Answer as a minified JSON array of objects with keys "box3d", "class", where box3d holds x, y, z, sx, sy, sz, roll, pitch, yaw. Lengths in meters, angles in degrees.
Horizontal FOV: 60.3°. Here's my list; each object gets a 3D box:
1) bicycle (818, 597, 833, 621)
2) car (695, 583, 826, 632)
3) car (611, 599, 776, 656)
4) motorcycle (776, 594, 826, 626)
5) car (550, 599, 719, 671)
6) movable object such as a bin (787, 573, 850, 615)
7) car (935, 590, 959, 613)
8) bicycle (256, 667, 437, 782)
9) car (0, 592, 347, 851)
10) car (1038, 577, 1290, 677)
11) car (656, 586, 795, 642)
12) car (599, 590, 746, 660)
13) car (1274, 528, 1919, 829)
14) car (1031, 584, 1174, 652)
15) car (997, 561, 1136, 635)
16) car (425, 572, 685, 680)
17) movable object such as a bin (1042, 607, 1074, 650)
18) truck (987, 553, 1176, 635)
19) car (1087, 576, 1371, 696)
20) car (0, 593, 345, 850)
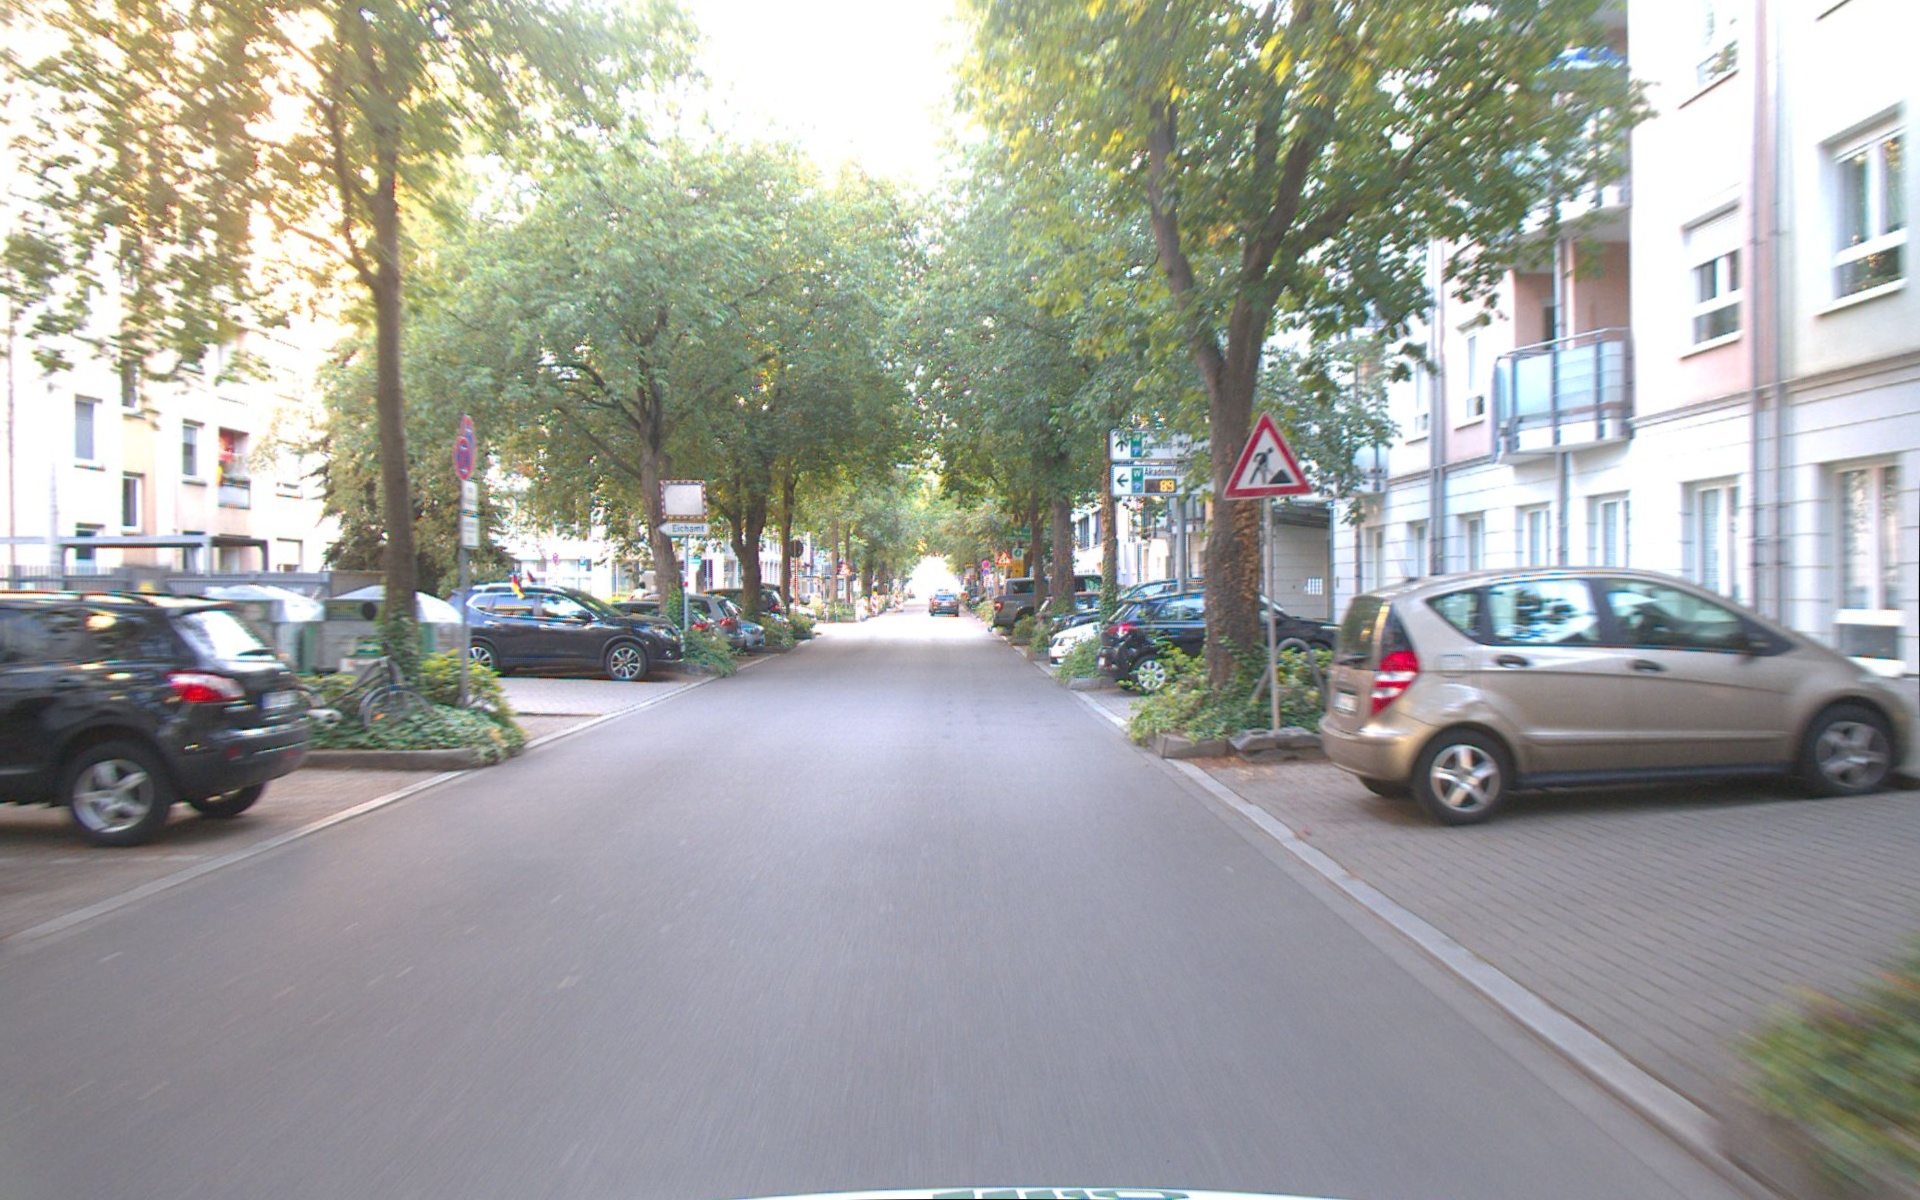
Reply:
[{"box3d":[-6.672,0.425,81.893,0.589,1.137,1.799,-1,1,-1],"class":"bicycle"},{"box3d":[-7.083,0.261,59.185,4.406,1.609,2.055,1,0,0],"class":"car"},{"box3d":[-6.858,0.699,42.859,4.018,1.403,1.746,1,0,-3],"class":"car"},{"box3d":[-7.590,0.460,78.924,2.358,1.466,0.790,-1,0,-41],"class":"motorcycle"},{"box3d":[-6.942,0.731,35.530,3.337,1.467,1.593,-1,0,-3],"class":"car"},{"box3d":[-8.275,-0.347,97.030,3.592,2.373,2.582,-1,0,-3],"class":"movable object such as a bin"},{"box3d":[-0.806,0.101,104.406,1.470,1.441,3.713,0,0,-1],"class":"car"},{"box3d":[-5.686,1.133,15.342,1.536,0.953,0.481,-1,0,-25],"class":"bicycle"},{"box3d":[-6.468,0.767,11.263,3.907,1.616,1.827,0,0,-3],"class":"car"},{"box3d":[3.814,0.493,31.444,4.480,1.579,1.772,-3,0,-2],"class":"car"},{"box3d":[-7.626,0.438,54.201,4.308,1.714,2.063,1,0,-3],"class":"car"},{"box3d":[-7.019,0.600,40.658,3.337,1.637,1.760,-1,0,-3],"class":"car"},{"box3d":[4.292,0.489,11.438,3.784,1.696,1.925,-3,0,-1],"class":"car"},{"box3d":[3.843,0.497,45.061,3.592,1.575,1.779,-4,-1,-3],"class":"car"},{"box3d":[3.667,-0.085,57.471,4.527,2.170,2.036,-4,0,-1],"class":"car"},{"box3d":[-7.400,0.466,30.563,4.329,1.925,1.999,0,0,-2],"class":"car"},{"box3d":[2.512,0.723,42.436,0.759,1.086,0.589,-1,0,-2],"class":"movable object such as a bin"},{"box3d":[3.946,-0.194,54.440,5.884,2.169,2.260,-5,0,-1],"class":"truck"},{"box3d":[4.075,0.524,25.455,3.910,1.500,1.911,-4,0,-5],"class":"car"},{"box3d":[-6.496,0.767,11.320,3.906,1.619,1.788,0,0,-1],"class":"car"}]
